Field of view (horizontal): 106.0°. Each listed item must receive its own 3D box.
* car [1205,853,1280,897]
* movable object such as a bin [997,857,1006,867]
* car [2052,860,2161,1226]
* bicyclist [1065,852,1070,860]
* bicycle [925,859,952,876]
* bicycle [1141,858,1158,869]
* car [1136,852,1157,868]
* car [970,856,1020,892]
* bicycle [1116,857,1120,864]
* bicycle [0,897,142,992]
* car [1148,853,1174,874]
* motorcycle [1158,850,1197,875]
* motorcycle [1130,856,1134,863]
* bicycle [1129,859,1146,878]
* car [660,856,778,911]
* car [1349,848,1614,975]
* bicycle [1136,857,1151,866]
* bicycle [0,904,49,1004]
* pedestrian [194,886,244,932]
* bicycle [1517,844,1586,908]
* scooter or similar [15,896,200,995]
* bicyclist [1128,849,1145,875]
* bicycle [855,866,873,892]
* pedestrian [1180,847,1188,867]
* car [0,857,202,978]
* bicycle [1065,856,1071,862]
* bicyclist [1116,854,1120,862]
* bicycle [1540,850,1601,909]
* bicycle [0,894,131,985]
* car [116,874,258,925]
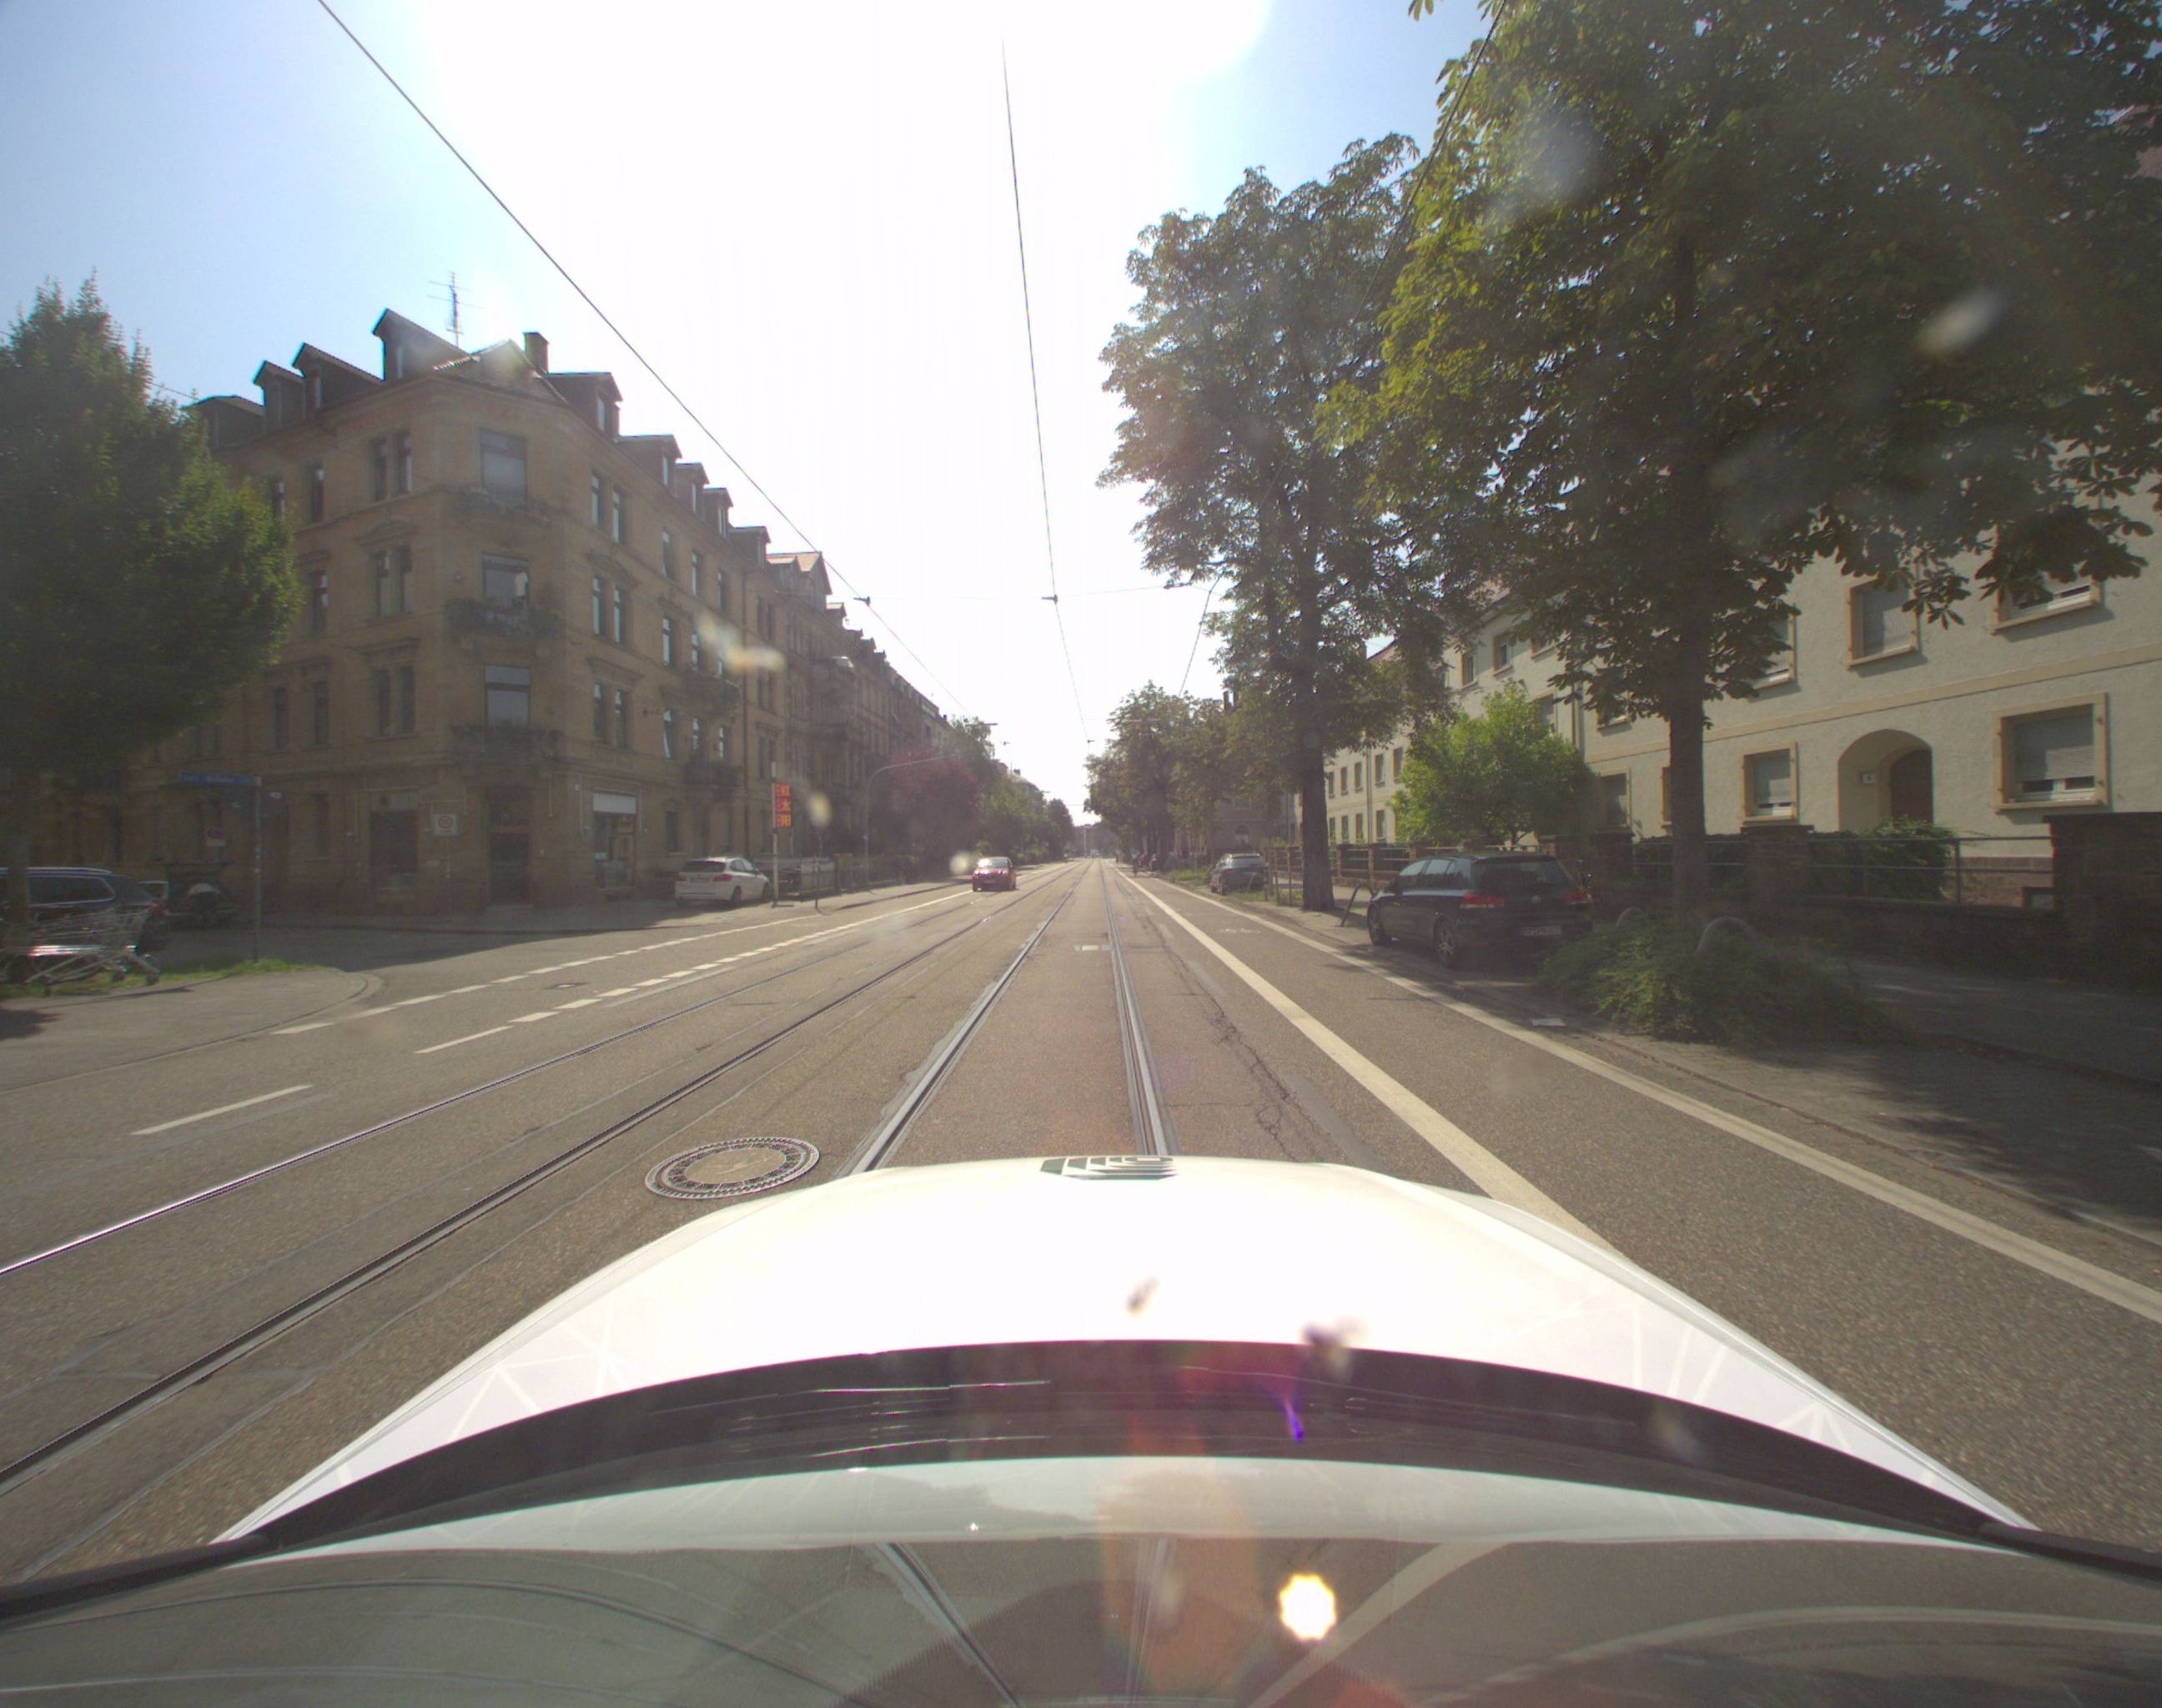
[{"bbox_3d":[5.907,0.709,30.337,1.886,1.477,4.841,-1,0,1],"label":"car"},{"bbox_3d":[-8.845,0.850,90.729,0.783,1.075,0.804,0,-1,4],"label":"movable object such as a bin"},{"bbox_3d":[5.223,0.717,1.407,1.749,1.477,4.459,-4,-1,1],"label":"car"},{"bbox_3d":[-2.318,0.416,140.622,0.755,1.391,0.780,-1,-1,6],"label":"bicyclist"},{"bbox_3d":[-10.211,0.986,58.287,1.805,1.182,0.717,0,-1,3],"label":"bicycle"},{"bbox_3d":[6.913,0.988,82.065,1.597,1.104,0.399,-1,0,7],"label":"bicycle"},{"bbox_3d":[6.952,0.614,86.464,1.834,1.532,4.780,-2,0,1],"label":"car"},{"bbox_3d":[-3.852,0.870,37.020,1.726,1.490,4.000,-2,0,1],"label":"car"},{"bbox_3d":[5.644,1.005,125.526,0.585,0.939,2.174,-1,-1,4],"label":"bicycle"},{"bbox_3d":[-13.281,1.145,10.516,0.385,1.099,1.460,0,0,26],"label":"bicycle"},{"bbox_3d":[6.710,0.783,68.677,1.834,1.532,4.116,-1,1,1],"label":"car"},{"bbox_3d":[6.270,0.577,53.092,2.316,1.540,0.975,-4,-3,42],"label":"motorcycle"},{"bbox_3d":[8.658,0.937,138.200,0.547,1.068,2.331,-1,-1,1],"label":"motorcycle"},{"bbox_3d":[3.968,0.991,57.780,1.143,1.269,2.714,-1,0,3],"label":"bicycle"},{"bbox_3d":[-11.651,0.882,26.578,1.989,1.594,4.355,-1,0,-2],"label":"car"},{"bbox_3d":[5.496,0.683,11.901,1.749,1.477,4.386,-1,0,0],"label":"car"},{"bbox_3d":[7.425,0.911,96.467,1.706,1.032,0.567,-1,-1,1],"label":"bicycle"},{"bbox_3d":[-12.749,1.140,9.123,1.452,1.099,0.387,-1,0,-22],"label":"bicycle"},{"bbox_3d":[-24.016,1.516,22.685,0.576,1.227,0.806,-2,-2,26],"label":"pedestrian"},{"bbox_3d":[10.381,0.466,18.043,0.454,1.333,1.892,-1,0,2],"label":"bicycle"},{"bbox_3d":[-12.434,1.133,10.460,0.592,1.099,1.394,0,0,11],"label":"scooter or similar"},{"bbox_3d":[3.953,0.545,57.851,1.121,1.837,0.956,-1,-1,2],"label":"bicyclist"},{"bbox_3d":[-9.561,1.098,35.976,0.389,1.099,1.568,-1,0,-1],"label":"bicycle"},{"bbox_3d":[10.218,0.306,80.555,0.703,1.892,0.714,-1,-1,2],"label":"pedestrian"},{"bbox_3d":[-16.321,0.936,11.827,1.976,1.688,4.383,-1,0,22],"label":"car"},{"bbox_3d":[-2.311,0.879,140.620,0.755,0.991,2.302,-1,-1,6],"label":"bicycle"},{"bbox_3d":[5.628,0.610,125.439,0.576,1.279,0.472,-1,-1,3],"label":"bicyclist"},{"bbox_3d":[10.838,0.543,18.078,0.400,1.258,1.580,-1,0,2],"label":"bicycle"},{"bbox_3d":[-13.879,1.123,10.897,0.385,1.099,1.460,0,0,26],"label":"bicycle"},{"bbox_3d":[-25.744,1.283,23.457,3.668,1.364,1.785,-1,-1,26],"label":"car"}]
